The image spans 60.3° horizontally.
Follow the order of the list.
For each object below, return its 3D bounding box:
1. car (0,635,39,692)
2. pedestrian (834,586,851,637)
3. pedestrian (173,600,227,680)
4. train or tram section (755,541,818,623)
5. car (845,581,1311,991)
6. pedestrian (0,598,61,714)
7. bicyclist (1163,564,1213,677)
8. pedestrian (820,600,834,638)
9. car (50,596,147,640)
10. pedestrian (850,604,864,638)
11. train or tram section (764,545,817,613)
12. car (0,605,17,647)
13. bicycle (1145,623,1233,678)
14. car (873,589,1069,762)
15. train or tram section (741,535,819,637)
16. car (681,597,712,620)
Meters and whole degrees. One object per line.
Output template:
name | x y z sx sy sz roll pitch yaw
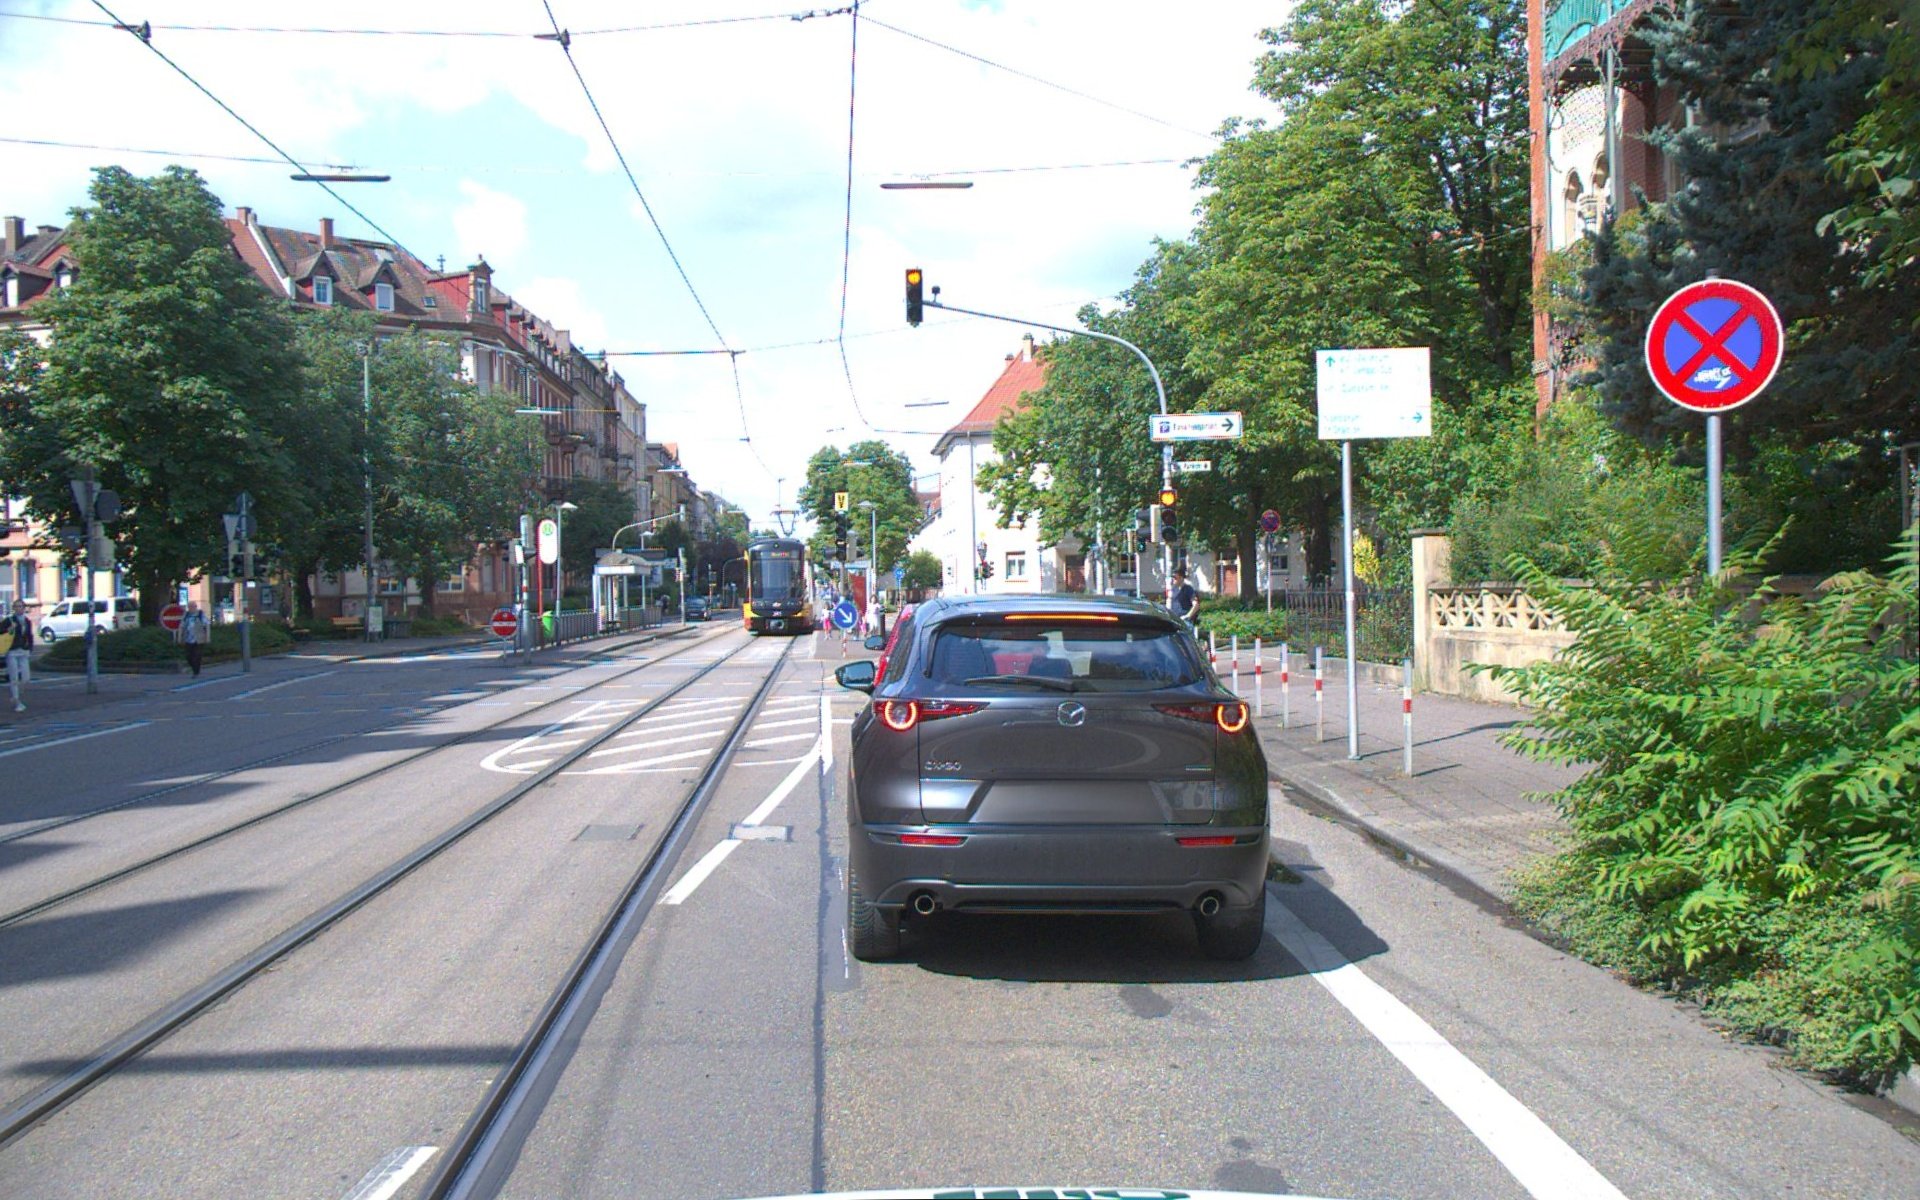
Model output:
car | -22.488 1.416 36.981 3.915 1.203 1.674 -1 0 33
pedestrian | -3.437 0.341 48.314 0.441 1.459 0.474 -1 0 -6
pedestrian | -16.839 0.878 36.670 0.804 1.735 0.719 -1 0 4
train or tram section | -8.345 -0.941 80.561 2.699 3.551 14.393 -1 1 -5
car | 0.396 0.693 8.232 1.742 1.526 3.999 1 0 -2
pedestrian | -14.778 0.878 26.193 0.795 1.785 0.674 -1 0 -44
bicyclist | 3.753 0.327 27.244 0.597 1.824 0.656 -1 0 -11
pedestrian | -3.879 0.548 48.319 0.372 1.089 0.474 -1 0 -6
car | -40.226 0.844 77.218 3.906 1.937 2.000 -1 0 23
pedestrian | -3.031 0.619 48.799 0.372 1.001 0.474 -1 0 -6
train or tram section | -9.636 -1.242 94.880 2.699 3.551 14.393 -1 1 -5
car | -39.520 1.075 64.824 3.906 1.624 2.000 -1 0 -1
bicycle | 3.812 0.833 27.486 1.685 0.838 0.487 -1 0 -43
car | 0.047 0.668 16.831 1.742 1.526 3.999 1 0 -2
train or tram section | -7.072 -0.650 66.226 2.699 3.551 14.393 -1 1 -5
car | -16.324 0.497 102.565 1.583 1.333 3.624 -1 0 -5
